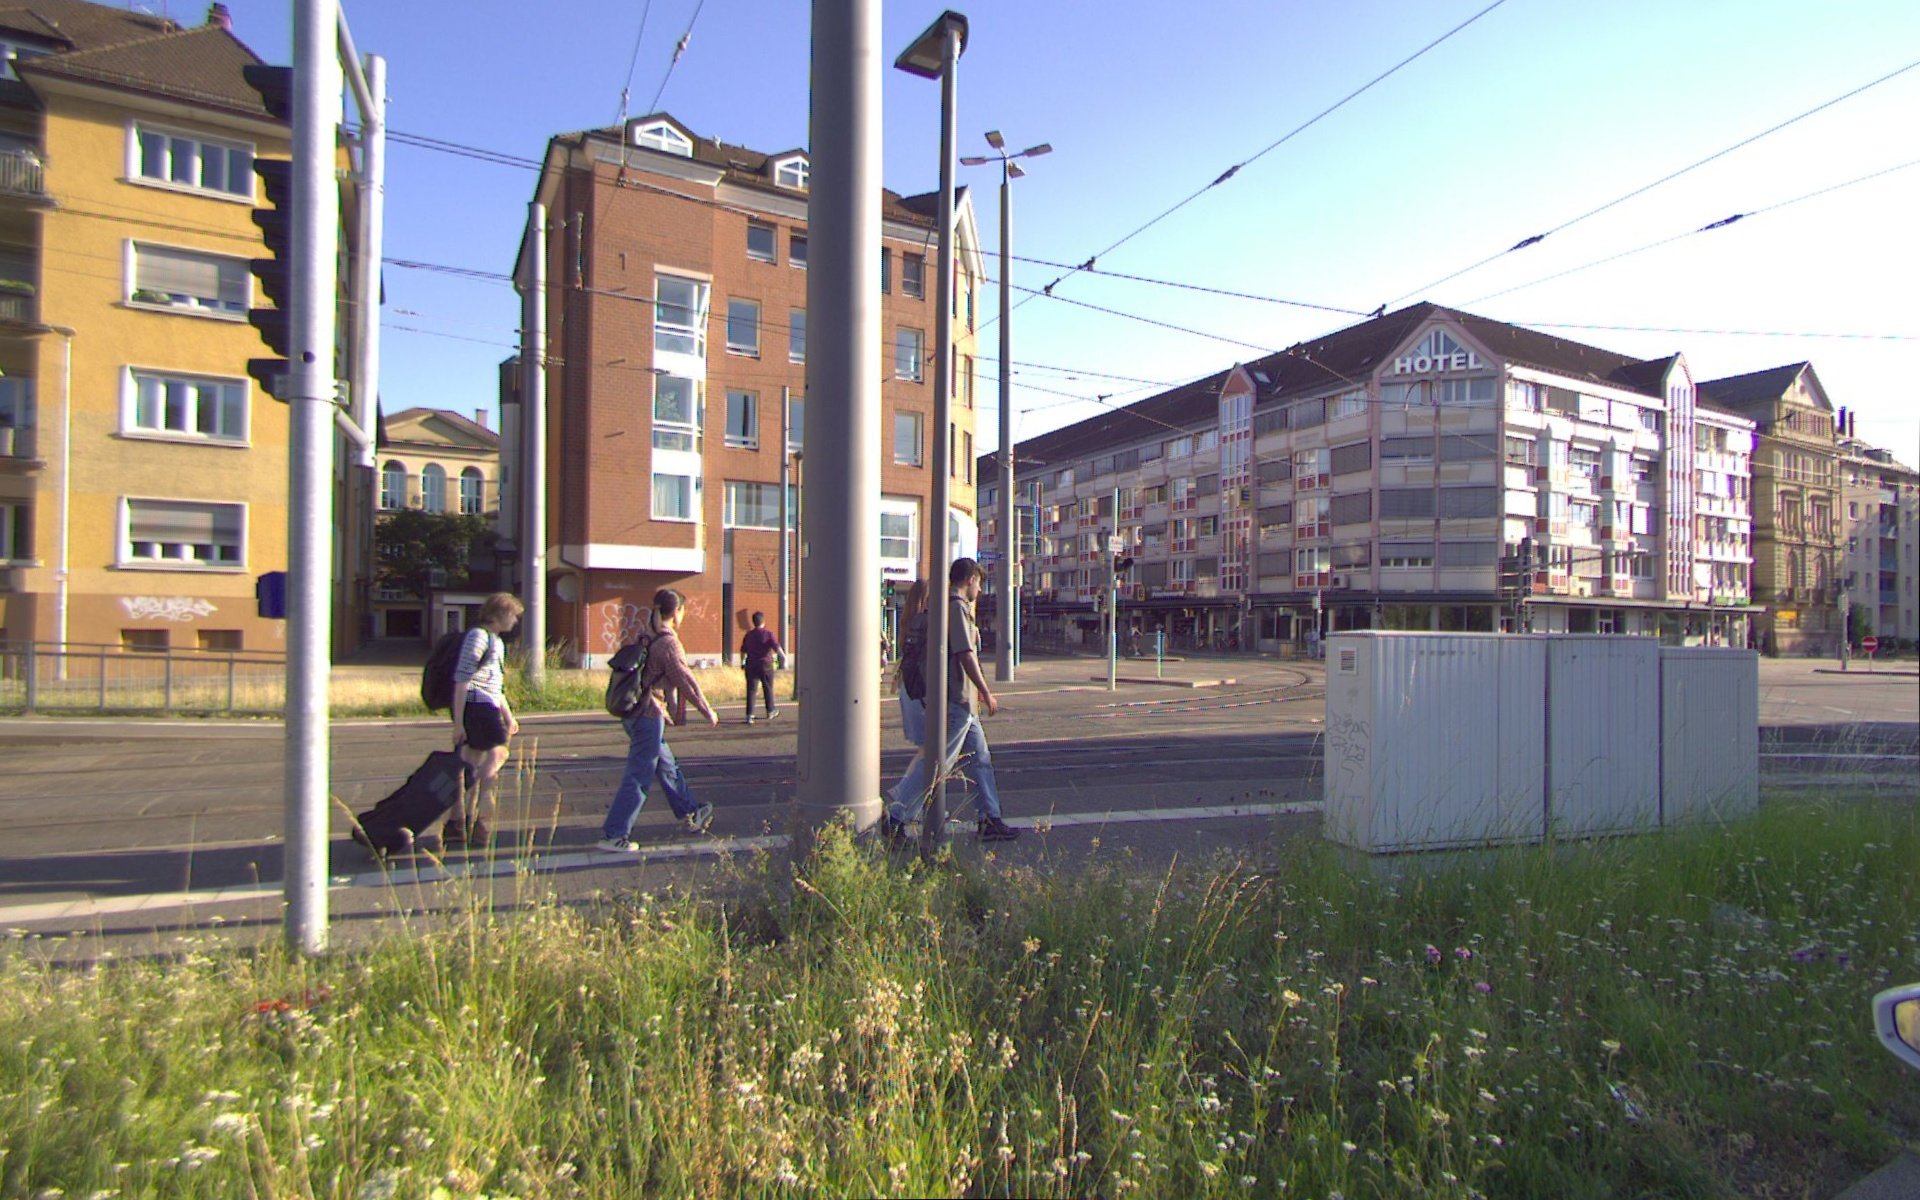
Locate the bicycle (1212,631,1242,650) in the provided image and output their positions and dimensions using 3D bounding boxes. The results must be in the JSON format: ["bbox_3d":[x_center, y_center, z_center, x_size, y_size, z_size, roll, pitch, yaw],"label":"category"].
[{"bbox_3d":[18.466,2.820,69.590,0.720,1.243,2.319,2,-2,-24],"label":"bicycle"}]

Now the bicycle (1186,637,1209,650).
[{"bbox_3d":[17.098,3.127,72.275,0.494,0.929,2.066,2,-2,-24],"label":"bicycle"}]

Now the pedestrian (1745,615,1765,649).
[{"bbox_3d":[57.851,2.318,73.061,0.953,2.430,0.918,2,0,-40],"label":"pedestrian"}]

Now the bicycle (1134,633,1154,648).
[{"bbox_3d":[14.639,3.193,79.846,1.630,1.134,0.480,2,0,-30],"label":"bicycle"}]

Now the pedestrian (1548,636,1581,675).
[{"bbox_3d":[31.712,2.893,52.699,0.847,1.909,1.187,-7,5,-34],"label":"pedestrian"}]

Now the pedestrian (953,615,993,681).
[{"bbox_3d":[0.361,1.317,27.708,0.824,1.781,0.687,2,0,-44],"label":"pedestrian"}]

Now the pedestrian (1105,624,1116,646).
[{"bbox_3d":[12.544,2.897,83.888,0.804,1.802,0.680,2,0,0],"label":"pedestrian"}]

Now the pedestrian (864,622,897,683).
[{"bbox_3d":[-2.146,1.410,27.175,0.825,1.605,0.683,2,0,-3],"label":"pedestrian"}]

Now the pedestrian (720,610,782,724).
[{"bbox_3d":[-3.041,0.971,14.691,0.773,1.609,0.608,2,0,-5],"label":"pedestrian"}]

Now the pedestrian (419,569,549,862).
[{"bbox_3d":[-2.952,0.664,6.206,0.612,1.662,0.781,2,0,-32],"label":"pedestrian"}]

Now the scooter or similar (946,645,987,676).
[{"bbox_3d":[0.214,2.050,34.204,1.311,1.019,0.484,2,0,-23],"label":"scooter or similar"}]

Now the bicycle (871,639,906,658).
[{"bbox_3d":[-3.907,2.648,55.026,1.813,0.974,0.540,1,1,-27],"label":"bicycle"}]

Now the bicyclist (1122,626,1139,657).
[{"bbox_3d":[8.592,2.083,50.703,0.724,1.501,0.566,0,1,-6],"label":"bicyclist"}]

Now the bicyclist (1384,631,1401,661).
[{"bbox_3d":[24.058,2.541,55.867,0.649,1.618,0.636,-1,1,-26],"label":"bicyclist"}]

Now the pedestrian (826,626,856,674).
[{"bbox_3d":[-4.071,1.702,34.429,0.830,1.605,0.680,2,0,-23],"label":"pedestrian"}]

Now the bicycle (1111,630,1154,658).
[{"bbox_3d":[8.708,2.228,50.718,2.055,1.385,0.584,0,1,-5],"label":"bicycle"}]

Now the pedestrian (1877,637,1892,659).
[{"bbox_3d":[73.006,3.785,79.300,0.715,1.717,0.692,2,0,-30],"label":"pedestrian"}]

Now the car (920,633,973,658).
[{"bbox_3d":[-0.831,2.585,57.529,1.725,1.261,3.916,2,0,-22],"label":"car"}]

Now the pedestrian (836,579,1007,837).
[{"bbox_3d":[-0.276,0.701,7.029,0.890,1.662,0.781,2,0,-32],"label":"pedestrian"}]

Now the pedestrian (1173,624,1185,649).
[{"bbox_3d":[16.651,2.762,76.425,0.601,1.877,0.601,2,0,-20],"label":"pedestrian"}]

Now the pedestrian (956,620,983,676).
[{"bbox_3d":[0.329,1.625,34.226,0.713,1.872,0.559,2,0,-23],"label":"pedestrian"}]

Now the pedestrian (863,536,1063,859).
[{"bbox_3d":[0.011,0.567,6.256,0.890,1.825,0.781,3,-1,-33],"label":"pedestrian"}]

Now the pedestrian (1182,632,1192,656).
[{"bbox_3d":[16.536,3.216,73.092,0.598,1.656,0.604,2,-5,15],"label":"pedestrian"}]

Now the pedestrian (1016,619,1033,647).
[{"bbox_3d":[3.946,2.006,61.475,0.773,1.682,0.677,2,0,-35],"label":"pedestrian"}]

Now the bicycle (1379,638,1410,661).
[{"bbox_3d":[24.188,2.769,55.941,1.746,1.160,0.636,-1,1,-27],"label":"bicycle"}]

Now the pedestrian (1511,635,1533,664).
[{"bbox_3d":[29.247,2.587,52.283,0.847,1.472,0.700,2,0,-34],"label":"pedestrian"}]

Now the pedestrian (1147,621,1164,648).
[{"bbox_3d":[12.349,2.161,63.434,0.773,1.682,0.677,2,0,-35],"label":"pedestrian"}]

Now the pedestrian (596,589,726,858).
[{"bbox_3d":[-1.887,0.719,6.294,0.611,1.556,0.782,2,0,-27],"label":"pedestrian"}]

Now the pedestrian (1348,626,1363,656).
[{"bbox_3d":[23.876,2.481,60.586,0.503,1.788,1.001,2,0,40],"label":"pedestrian"}]

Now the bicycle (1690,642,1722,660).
[{"bbox_3d":[48.497,3.298,65.275,2.056,1.085,0.451,2,0,-13],"label":"bicycle"}]

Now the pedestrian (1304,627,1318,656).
[{"bbox_3d":[20.971,2.479,60.061,0.612,1.717,0.866,2,0,29],"label":"pedestrian"}]

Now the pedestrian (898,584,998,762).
[{"bbox_3d":[-0.113,0.745,10.694,0.761,1.781,0.900,2,0,20],"label":"pedestrian"}]

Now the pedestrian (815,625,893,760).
[{"bbox_3d":[-1.146,0.976,10.903,0.585,1.378,0.608,2,0,21],"label":"pedestrian"}]
